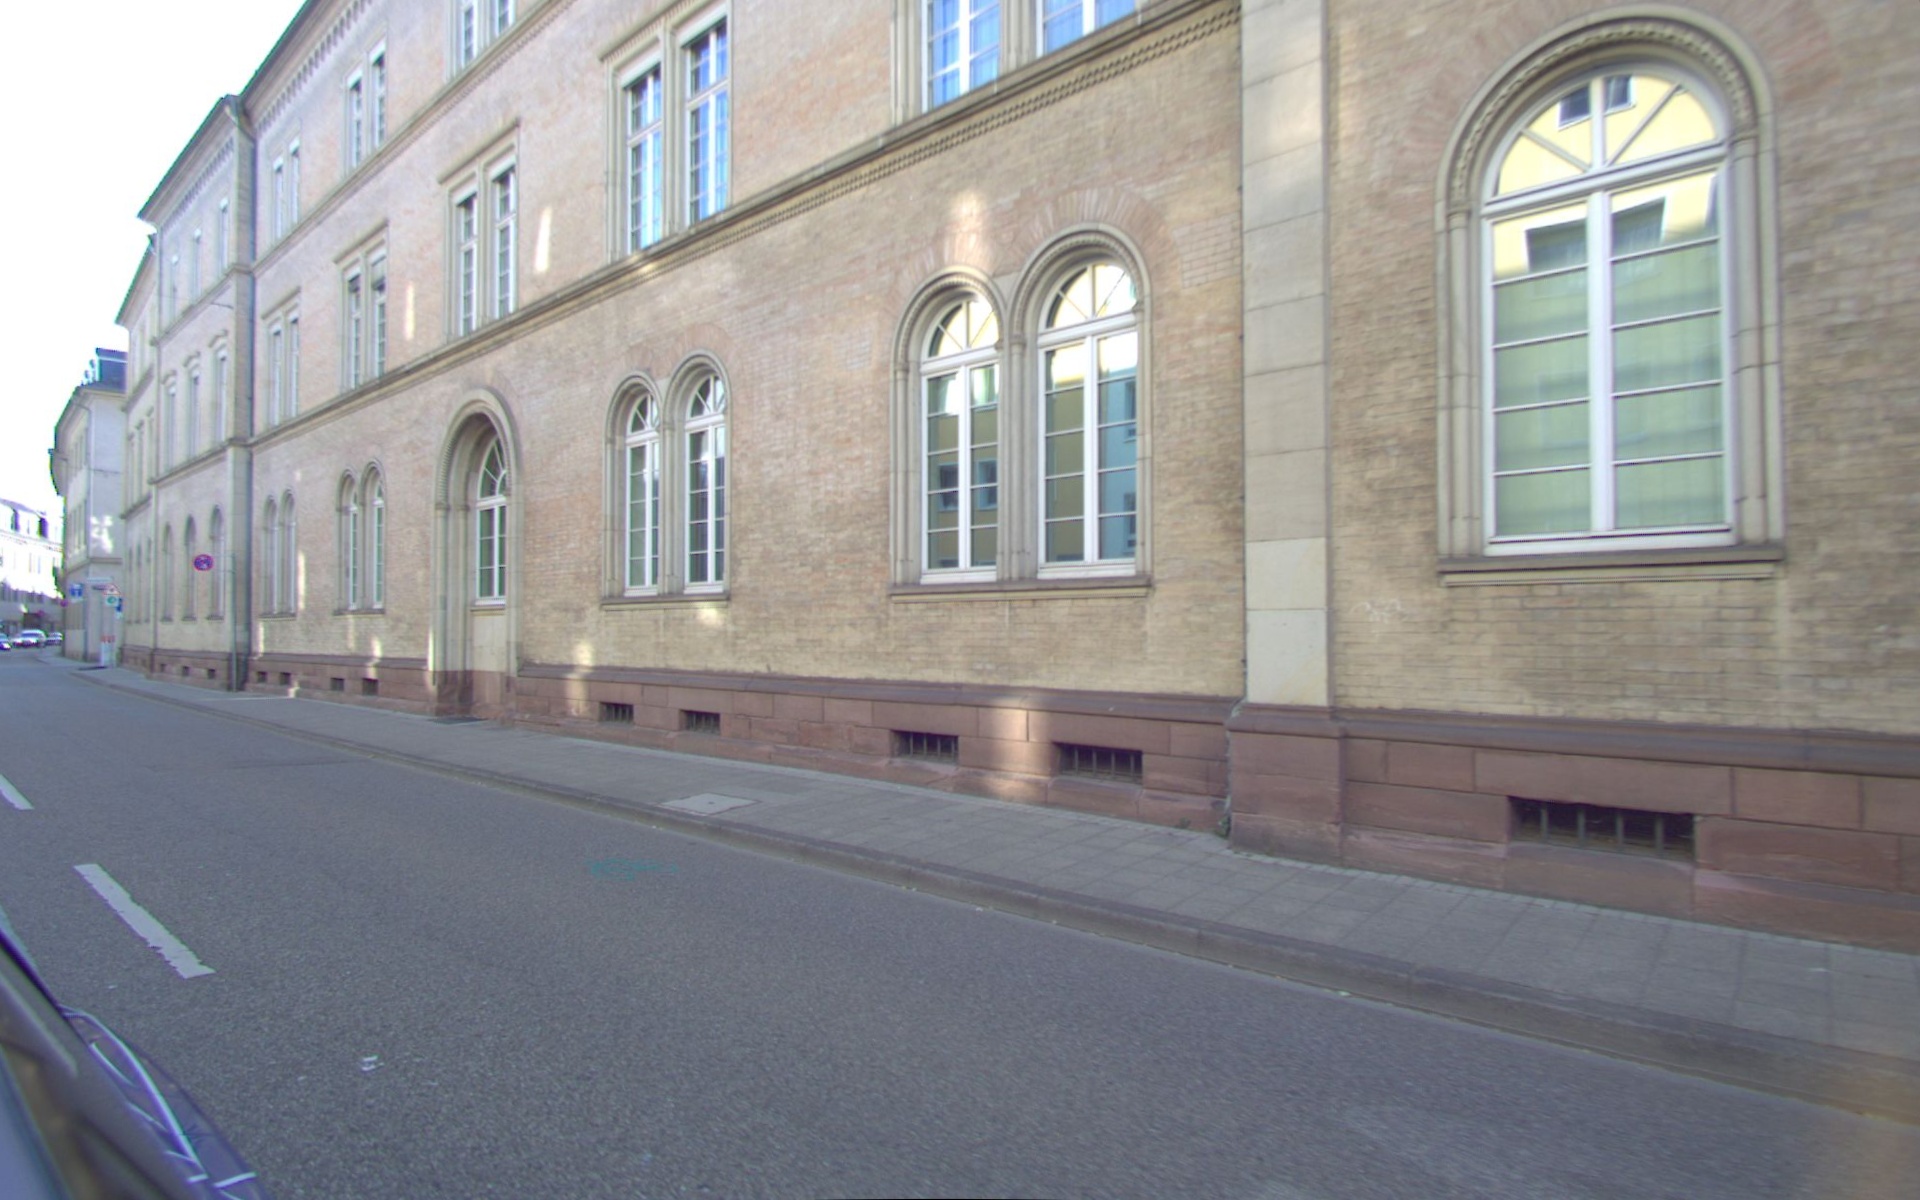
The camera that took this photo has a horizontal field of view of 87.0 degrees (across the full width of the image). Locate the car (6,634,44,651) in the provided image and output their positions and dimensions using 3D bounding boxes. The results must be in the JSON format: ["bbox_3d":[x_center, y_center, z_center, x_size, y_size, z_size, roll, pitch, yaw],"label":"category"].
[{"bbox_3d":[-94.363,4.275,102.172,1.892,1.735,4.974,1,-2,-32],"label":"car"}]

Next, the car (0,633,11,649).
[{"bbox_3d":[-101.616,4.324,106.907,1.512,1.737,3.748,1,-2,-35],"label":"car"}]

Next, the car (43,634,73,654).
[{"bbox_3d":[-79.516,3.846,89.199,1.638,1.737,3.747,1,-2,-37],"label":"car"}]

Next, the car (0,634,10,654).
[{"bbox_3d":[-83.701,3.797,87.490,1.833,1.737,3.747,1,-2,-36],"label":"car"}]

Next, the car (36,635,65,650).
[{"bbox_3d":[-108.824,5.027,121.129,1.897,1.737,4.241,1,-2,-33],"label":"car"}]
